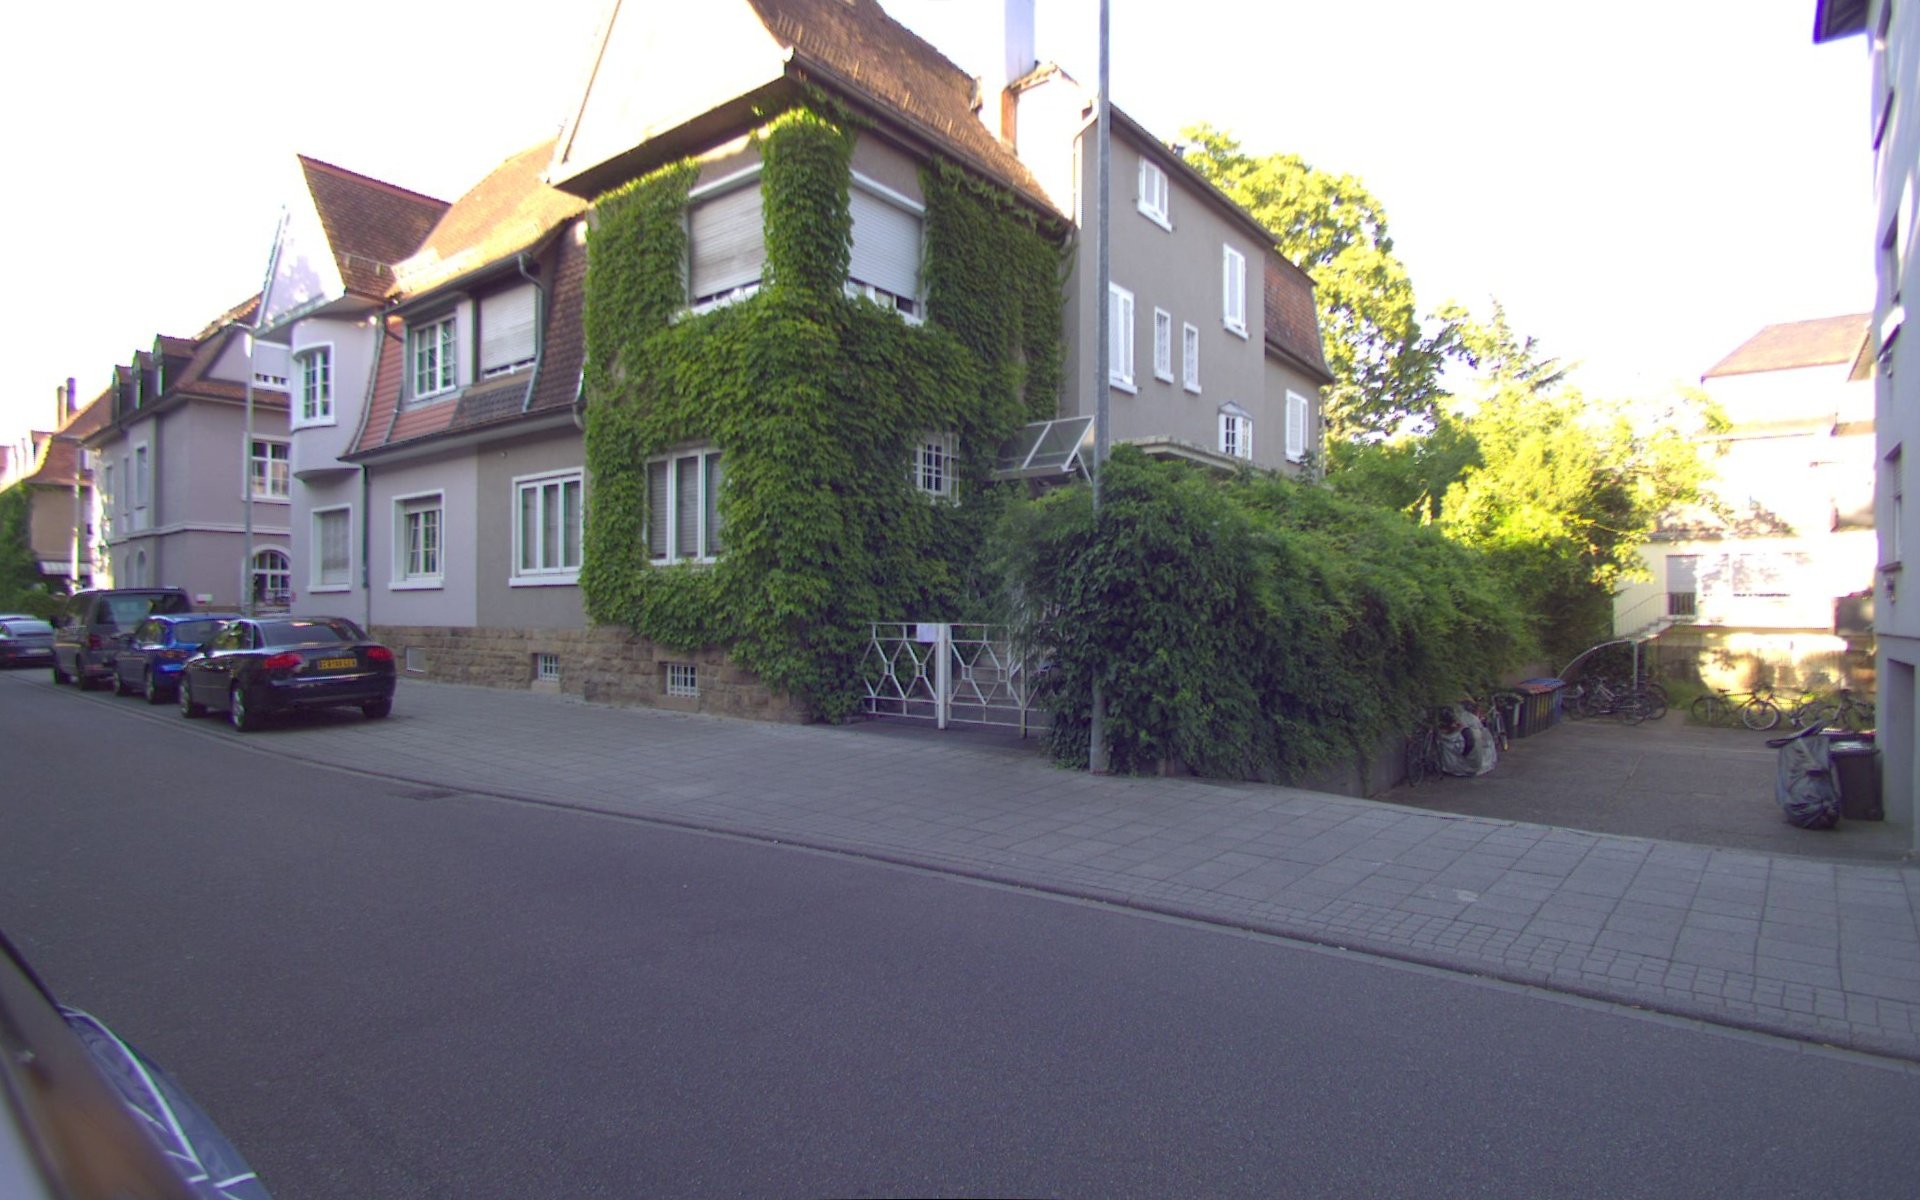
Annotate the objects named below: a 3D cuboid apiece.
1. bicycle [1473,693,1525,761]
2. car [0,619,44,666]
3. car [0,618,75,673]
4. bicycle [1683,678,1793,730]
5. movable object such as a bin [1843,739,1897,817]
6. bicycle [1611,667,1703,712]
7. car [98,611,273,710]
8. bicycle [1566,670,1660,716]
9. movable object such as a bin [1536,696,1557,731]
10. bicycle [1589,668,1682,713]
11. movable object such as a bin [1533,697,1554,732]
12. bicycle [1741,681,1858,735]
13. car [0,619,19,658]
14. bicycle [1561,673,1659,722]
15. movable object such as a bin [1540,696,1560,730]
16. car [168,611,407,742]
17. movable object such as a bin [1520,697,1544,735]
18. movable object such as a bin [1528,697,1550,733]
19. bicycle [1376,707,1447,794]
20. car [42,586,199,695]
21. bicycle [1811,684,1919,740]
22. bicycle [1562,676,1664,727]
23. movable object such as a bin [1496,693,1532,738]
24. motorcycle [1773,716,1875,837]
[{"bbox_3d":[9.963,2.308,18.672,0.514,1.027,1.914,1,0,38],"label":"bicycle"},{"bbox_3d":[-30.307,1.324,31.941,3.942,1.381,1.522,-1,1,40],"label":"car"},{"bbox_3d":[-26.329,1.222,28.337,4.331,1.381,1.698,-1,1,40],"label":"car"},{"bbox_3d":[18.721,2.483,24.392,2.068,1.028,0.634,1,3,41],"label":"bicycle"},{"bbox_3d":[11.766,2.289,13.098,0.432,0.894,0.717,-1,-3,37],"label":"movable object such as a bin"},{"bbox_3d":[19.424,2.472,28.242,2.068,1.028,0.561,1,3,41],"label":"bicycle"},{"bbox_3d":[-13.704,0.972,17.829,4.021,1.475,1.591,0,2,40],"label":"car"},{"bbox_3d":[17.705,2.495,27.472,2.068,1.028,0.608,1,3,41],"label":"bicycle"},{"bbox_3d":[13.542,2.617,23.355,0.367,0.764,0.359,-1,-4,41],"label":"movable object such as a bin"},{"bbox_3d":[18.622,2.483,27.938,2.068,1.028,0.608,1,3,41],"label":"bicycle"},{"bbox_3d":[13.290,2.597,23.058,0.367,0.764,0.359,-1,-4,41],"label":"movable object such as a bin"},{"bbox_3d":[19.581,2.499,23.636,2.068,1.028,0.634,1,3,41],"label":"bicycle"},{"bbox_3d":[-36.531,1.432,37.687,3.942,1.381,1.698,-1,1,40],"label":"car"},{"bbox_3d":[16.844,2.507,26.270,2.068,1.028,0.565,1,3,41],"label":"bicycle"},{"bbox_3d":[13.787,2.645,23.656,0.346,0.764,0.359,-1,-4,41],"label":"movable object such as a bin"},{"bbox_3d":[-9.272,0.915,13.830,4.023,1.439,1.729,0,2,42],"label":"car"},{"bbox_3d":[12.556,2.543,22.218,0.398,0.779,0.359,-1,-4,41],"label":"movable object such as a bin"},{"bbox_3d":[13.027,2.581,22.765,0.375,0.764,0.359,-1,-4,41],"label":"movable object such as a bin"},{"bbox_3d":[6.782,2.213,15.154,0.514,1.027,1.914,1,0,38],"label":"bicycle"},{"bbox_3d":[-17.398,0.756,20.914,4.308,1.987,1.698,0,2,40],"label":"car"},{"bbox_3d":[20.530,2.515,22.792,2.068,1.028,0.634,1,3,41],"label":"bicycle"},{"bbox_3d":[16.280,2.514,25.258,2.068,1.028,0.634,1,3,41],"label":"bicycle"},{"bbox_3d":[11.549,2.401,21.095,0.576,0.886,0.488,0,-3,41],"label":"movable object such as a bin"},{"bbox_3d":[10.730,2.143,12.622,0.757,1.261,1.575,-1,-3,34],"label":"motorcycle"}]
